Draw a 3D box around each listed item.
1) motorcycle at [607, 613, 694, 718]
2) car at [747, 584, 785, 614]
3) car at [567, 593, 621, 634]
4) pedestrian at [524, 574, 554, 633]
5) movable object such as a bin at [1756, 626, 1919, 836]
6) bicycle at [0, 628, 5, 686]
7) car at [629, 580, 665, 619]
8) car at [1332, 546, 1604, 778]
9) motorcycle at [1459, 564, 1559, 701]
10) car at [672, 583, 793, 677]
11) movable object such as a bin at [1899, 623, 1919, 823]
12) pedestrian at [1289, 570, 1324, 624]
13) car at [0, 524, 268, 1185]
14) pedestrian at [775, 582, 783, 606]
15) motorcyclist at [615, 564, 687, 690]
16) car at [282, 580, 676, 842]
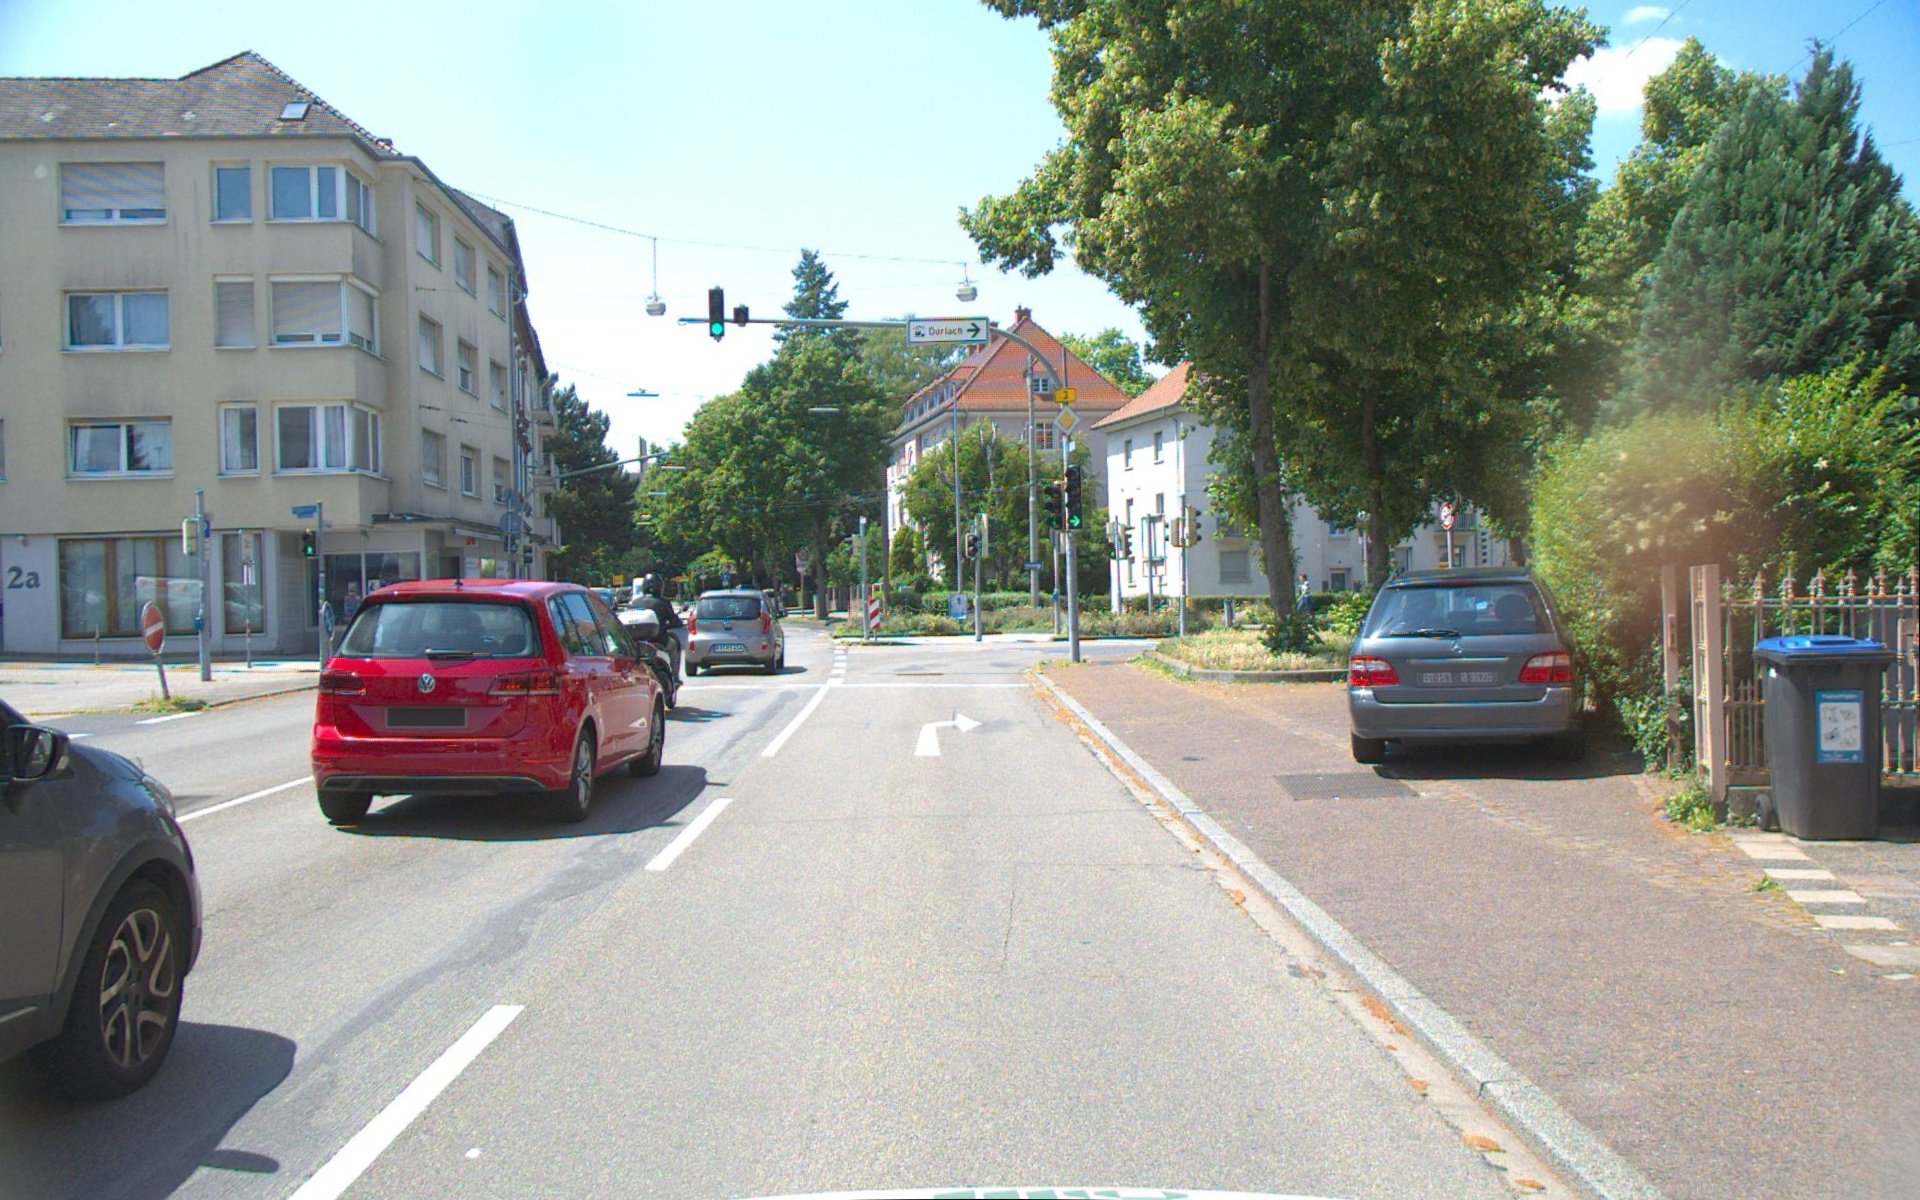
[{"bbox_3d":[-3.731,0.765,20.095,0.696,1.154,2.196,-1,0,-2],"label":"motorcycle"},{"bbox_3d":[-12.334,-0.083,104.859,1.959,1.839,3.986,-1,0,-13],"label":"car"},{"bbox_3d":[-14.286,0.528,64.424,1.960,1.545,3.984,-1,-1,-14],"label":"car"},{"bbox_3d":[-14.368,0.114,56.507,0.919,1.965,0.974,-1,0,-13],"label":"pedestrian"},{"bbox_3d":[4.819,0.702,9.075,0.635,1.090,0.637,-1,0,9],"label":"movable object such as a bin"},{"bbox_3d":[-16.369,0.969,27.246,0.389,0.984,1.781,-1,0,-5],"label":"bicycle"},{"bbox_3d":[-22.102,-0.023,116.945,2.177,2.544,7.535,-5,1,-10],"label":"car"},{"bbox_3d":[4.428,0.387,14.237,1.796,1.575,5.159,-2,1,19],"label":"car"},{"bbox_3d":[5.944,0.314,17.835,0.911,1.325,2.282,-2,1,20],"label":"motorcycle"},{"bbox_3d":[-4.106,0.505,30.404,1.763,1.585,4.036,-1,0,-2],"label":"car"},{"bbox_3d":[5.511,0.675,8.920,0.540,1.090,0.706,-1,0,9],"label":"movable object such as a bin"},{"bbox_3d":[11.446,-0.094,54.635,0.826,1.735,0.755,-1,0,-28],"label":"pedestrian"},{"bbox_3d":[-3.278,0.653,3.757,1.718,1.660,4.000,-1,0,0],"label":"car"},{"bbox_3d":[-12.833,-0.441,117.136,0.499,1.685,0.465,-1,0,-8],"label":"pedestrian"},{"bbox_3d":[-3.734,0.314,20.047,0.696,1.471,1.019,-1,0,-3],"label":"motorcyclist"},{"bbox_3d":[-3.293,0.672,12.163,1.762,1.585,4.036,-1,0,-1],"label":"car"}]
